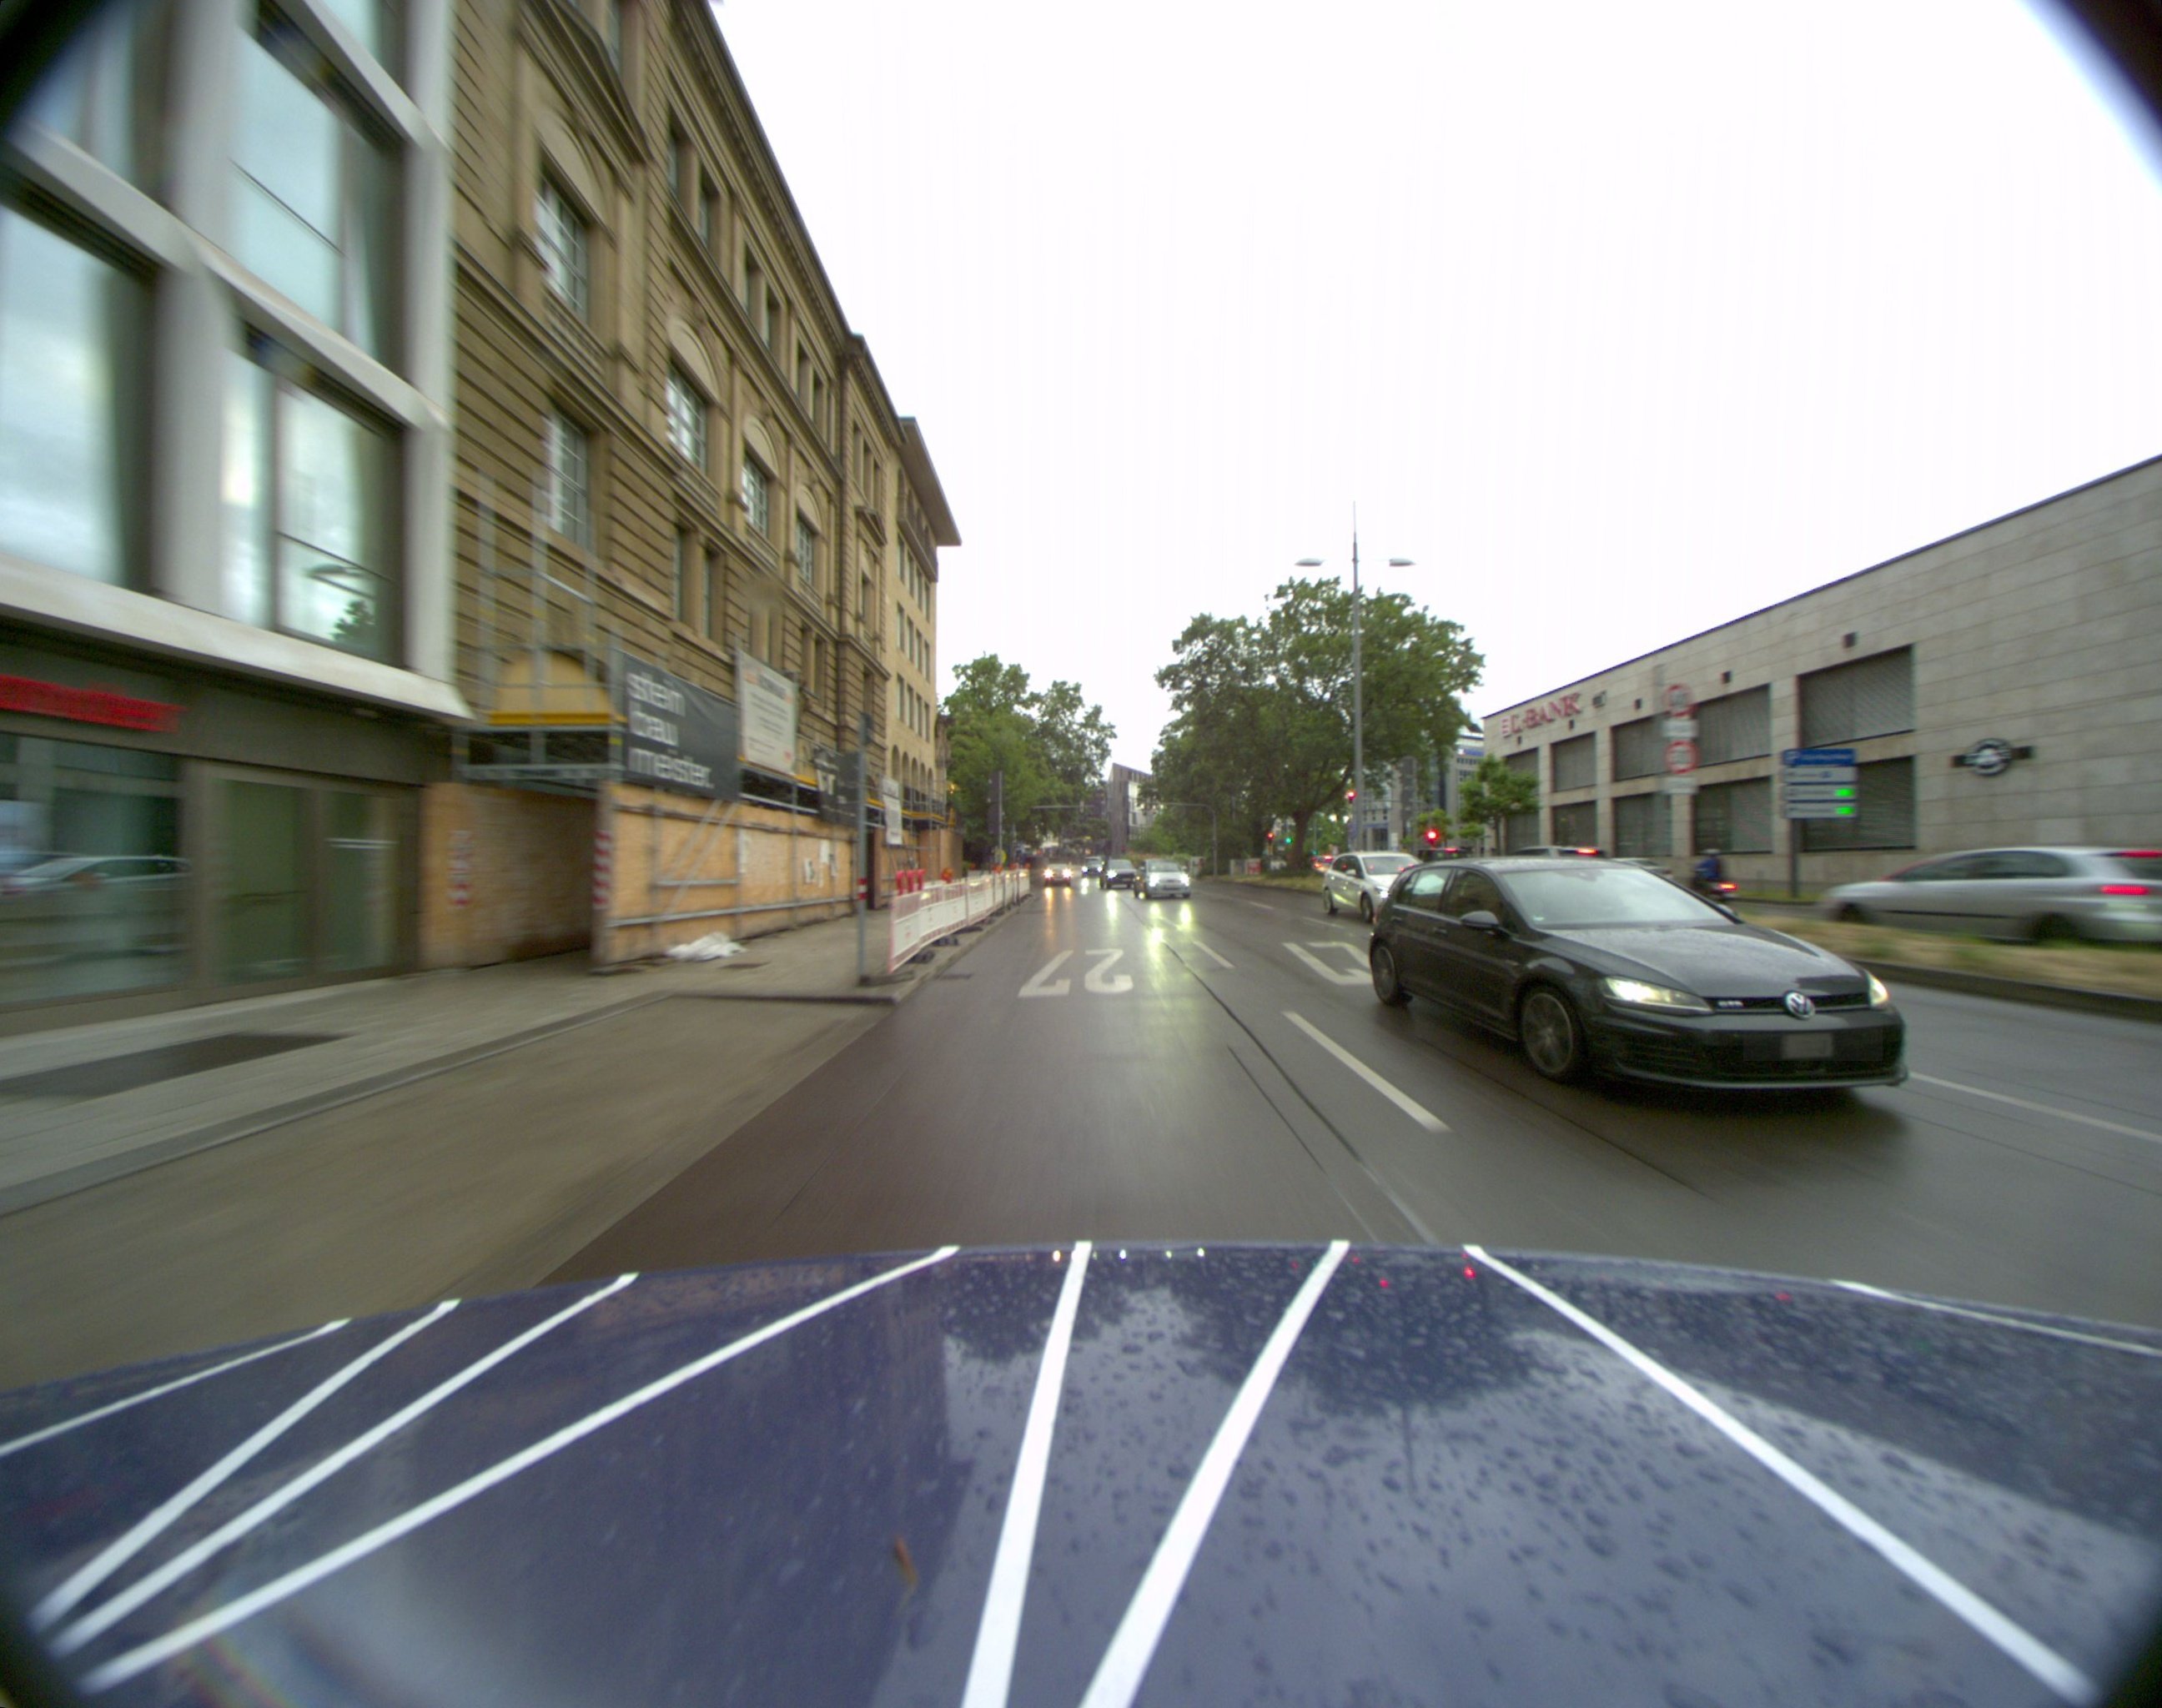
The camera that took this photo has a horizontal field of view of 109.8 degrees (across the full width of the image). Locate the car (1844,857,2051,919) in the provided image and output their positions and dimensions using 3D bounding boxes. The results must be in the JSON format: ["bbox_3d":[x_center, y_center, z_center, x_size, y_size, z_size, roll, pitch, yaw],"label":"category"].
[{"bbox_3d":[22.035,0.812,19.529,1.595,1.407,3.402,0,1,5],"label":"car"}]

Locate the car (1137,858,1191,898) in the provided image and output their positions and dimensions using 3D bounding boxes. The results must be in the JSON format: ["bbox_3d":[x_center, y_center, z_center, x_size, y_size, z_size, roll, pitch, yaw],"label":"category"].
[{"bbox_3d":[3.190,0.889,29.738,1.612,1.432,3.493,-2,0,-2],"label":"car"}]

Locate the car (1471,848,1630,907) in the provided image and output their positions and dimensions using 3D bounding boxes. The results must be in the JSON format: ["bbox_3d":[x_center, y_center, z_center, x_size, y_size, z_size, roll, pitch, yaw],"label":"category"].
[{"bbox_3d":[12.895,0.577,21.248,1.704,1.429,4.582,0,1,2],"label":"car"}]

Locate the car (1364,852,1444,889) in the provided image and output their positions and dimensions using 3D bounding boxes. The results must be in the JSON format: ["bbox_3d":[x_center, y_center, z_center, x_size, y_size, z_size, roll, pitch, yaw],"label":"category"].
[{"bbox_3d":[13.979,0.667,33.155,1.864,1.434,4.314,1,1,4],"label":"car"}]

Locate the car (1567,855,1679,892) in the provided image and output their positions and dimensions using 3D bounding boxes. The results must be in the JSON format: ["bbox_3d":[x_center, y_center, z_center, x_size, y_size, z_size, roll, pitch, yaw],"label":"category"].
[{"bbox_3d":[22.932,0.779,32.389,1.751,1.407,4.706,0,1,5],"label":"car"}]

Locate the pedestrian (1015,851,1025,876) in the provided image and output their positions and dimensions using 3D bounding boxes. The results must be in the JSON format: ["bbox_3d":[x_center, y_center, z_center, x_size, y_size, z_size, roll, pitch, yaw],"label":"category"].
[{"bbox_3d":[-4.503,0.728,56.343,0.634,1.824,0.563,0,1,4],"label":"pedestrian"}]

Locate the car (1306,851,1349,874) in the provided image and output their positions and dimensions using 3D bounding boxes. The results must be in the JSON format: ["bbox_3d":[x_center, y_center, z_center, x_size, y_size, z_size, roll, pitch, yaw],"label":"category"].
[{"bbox_3d":[15.532,0.521,48.015,1.751,1.357,4.132,0,1,6],"label":"car"}]

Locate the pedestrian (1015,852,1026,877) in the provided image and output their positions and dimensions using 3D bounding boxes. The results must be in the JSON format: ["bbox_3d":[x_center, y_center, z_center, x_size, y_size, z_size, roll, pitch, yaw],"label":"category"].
[{"bbox_3d":[-4.410,0.735,55.746,0.592,1.824,0.628,-1,1,-26],"label":"pedestrian"}]

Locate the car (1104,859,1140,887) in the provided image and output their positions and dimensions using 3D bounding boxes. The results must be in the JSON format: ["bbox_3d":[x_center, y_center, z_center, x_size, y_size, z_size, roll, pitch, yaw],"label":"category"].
[{"bbox_3d":[2.219,1.000,42.012,1.717,1.433,3.493,1,0,-1],"label":"car"}]

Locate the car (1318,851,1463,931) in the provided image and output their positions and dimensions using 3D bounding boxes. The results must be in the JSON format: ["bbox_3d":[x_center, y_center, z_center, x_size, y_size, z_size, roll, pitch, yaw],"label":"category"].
[{"bbox_3d":[7.033,0.759,17.741,1.781,1.587,3.999,-1,1,0],"label":"car"}]

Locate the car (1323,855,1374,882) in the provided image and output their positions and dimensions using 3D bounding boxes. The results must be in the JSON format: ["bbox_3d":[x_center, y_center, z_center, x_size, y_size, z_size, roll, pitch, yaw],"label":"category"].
[{"bbox_3d":[14.400,0.744,41.140,1.751,1.357,3.944,0,1,6],"label":"car"}]

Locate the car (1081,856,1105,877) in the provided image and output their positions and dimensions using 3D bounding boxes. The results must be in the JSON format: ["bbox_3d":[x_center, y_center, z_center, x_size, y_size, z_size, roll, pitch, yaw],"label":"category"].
[{"bbox_3d":[1.117,1.069,67.401,1.998,1.733,3.910,-1,0,2],"label":"car"}]

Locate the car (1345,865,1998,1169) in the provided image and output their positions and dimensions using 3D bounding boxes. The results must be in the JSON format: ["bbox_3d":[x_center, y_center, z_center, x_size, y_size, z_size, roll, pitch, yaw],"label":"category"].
[{"bbox_3d":[3.726,0.848,5.911,1.789,1.444,4.122,-1,0,-2],"label":"car"}]

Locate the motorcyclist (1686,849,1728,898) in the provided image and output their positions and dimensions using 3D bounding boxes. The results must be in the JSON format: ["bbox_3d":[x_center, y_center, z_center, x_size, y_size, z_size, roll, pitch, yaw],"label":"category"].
[{"bbox_3d":[19.694,0.603,23.918,0.521,1.520,0.973,-1,0,2],"label":"motorcyclist"}]

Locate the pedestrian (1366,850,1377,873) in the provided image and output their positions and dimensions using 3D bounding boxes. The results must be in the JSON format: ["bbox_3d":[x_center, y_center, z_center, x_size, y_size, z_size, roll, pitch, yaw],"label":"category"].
[{"bbox_3d":[20.758,0.556,54.317,0.425,1.604,0.554,-1,0,-18],"label":"pedestrian"}]

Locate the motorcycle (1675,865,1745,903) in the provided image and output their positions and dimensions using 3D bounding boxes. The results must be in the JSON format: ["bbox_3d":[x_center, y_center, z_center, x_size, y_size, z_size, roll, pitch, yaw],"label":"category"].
[{"bbox_3d":[19.693,0.928,23.838,0.550,1.123,2.033,-1,0,2],"label":"motorcycle"}]

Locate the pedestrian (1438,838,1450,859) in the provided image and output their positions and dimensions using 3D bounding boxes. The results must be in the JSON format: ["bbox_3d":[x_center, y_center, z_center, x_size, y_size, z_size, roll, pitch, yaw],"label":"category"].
[{"bbox_3d":[34.293,-0.515,71.810,0.589,1.913,1.125,-2,0,0],"label":"pedestrian"}]

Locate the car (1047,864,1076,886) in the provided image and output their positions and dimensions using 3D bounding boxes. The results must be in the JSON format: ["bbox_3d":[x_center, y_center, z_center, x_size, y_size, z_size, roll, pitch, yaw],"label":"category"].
[{"bbox_3d":[-1.181,1.315,47.688,1.716,1.274,3.494,0,0,0],"label":"car"}]

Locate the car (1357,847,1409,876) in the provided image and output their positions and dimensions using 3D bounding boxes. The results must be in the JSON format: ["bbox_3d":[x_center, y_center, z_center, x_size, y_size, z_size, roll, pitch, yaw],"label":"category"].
[{"bbox_3d":[18.441,0.432,46.561,1.835,1.630,4.092,0,1,4],"label":"car"}]

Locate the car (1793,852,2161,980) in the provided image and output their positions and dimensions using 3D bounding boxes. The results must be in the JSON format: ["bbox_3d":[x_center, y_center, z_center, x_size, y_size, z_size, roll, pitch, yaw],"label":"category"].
[{"bbox_3d":[12.377,0.677,10.352,1.600,1.352,4.117,0,1,3],"label":"car"}]

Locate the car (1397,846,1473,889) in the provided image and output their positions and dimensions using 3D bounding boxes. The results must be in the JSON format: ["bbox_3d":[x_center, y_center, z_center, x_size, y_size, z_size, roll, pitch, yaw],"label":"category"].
[{"bbox_3d":[17.642,0.611,38.163,1.835,1.990,5.105,0,1,5],"label":"car"}]
